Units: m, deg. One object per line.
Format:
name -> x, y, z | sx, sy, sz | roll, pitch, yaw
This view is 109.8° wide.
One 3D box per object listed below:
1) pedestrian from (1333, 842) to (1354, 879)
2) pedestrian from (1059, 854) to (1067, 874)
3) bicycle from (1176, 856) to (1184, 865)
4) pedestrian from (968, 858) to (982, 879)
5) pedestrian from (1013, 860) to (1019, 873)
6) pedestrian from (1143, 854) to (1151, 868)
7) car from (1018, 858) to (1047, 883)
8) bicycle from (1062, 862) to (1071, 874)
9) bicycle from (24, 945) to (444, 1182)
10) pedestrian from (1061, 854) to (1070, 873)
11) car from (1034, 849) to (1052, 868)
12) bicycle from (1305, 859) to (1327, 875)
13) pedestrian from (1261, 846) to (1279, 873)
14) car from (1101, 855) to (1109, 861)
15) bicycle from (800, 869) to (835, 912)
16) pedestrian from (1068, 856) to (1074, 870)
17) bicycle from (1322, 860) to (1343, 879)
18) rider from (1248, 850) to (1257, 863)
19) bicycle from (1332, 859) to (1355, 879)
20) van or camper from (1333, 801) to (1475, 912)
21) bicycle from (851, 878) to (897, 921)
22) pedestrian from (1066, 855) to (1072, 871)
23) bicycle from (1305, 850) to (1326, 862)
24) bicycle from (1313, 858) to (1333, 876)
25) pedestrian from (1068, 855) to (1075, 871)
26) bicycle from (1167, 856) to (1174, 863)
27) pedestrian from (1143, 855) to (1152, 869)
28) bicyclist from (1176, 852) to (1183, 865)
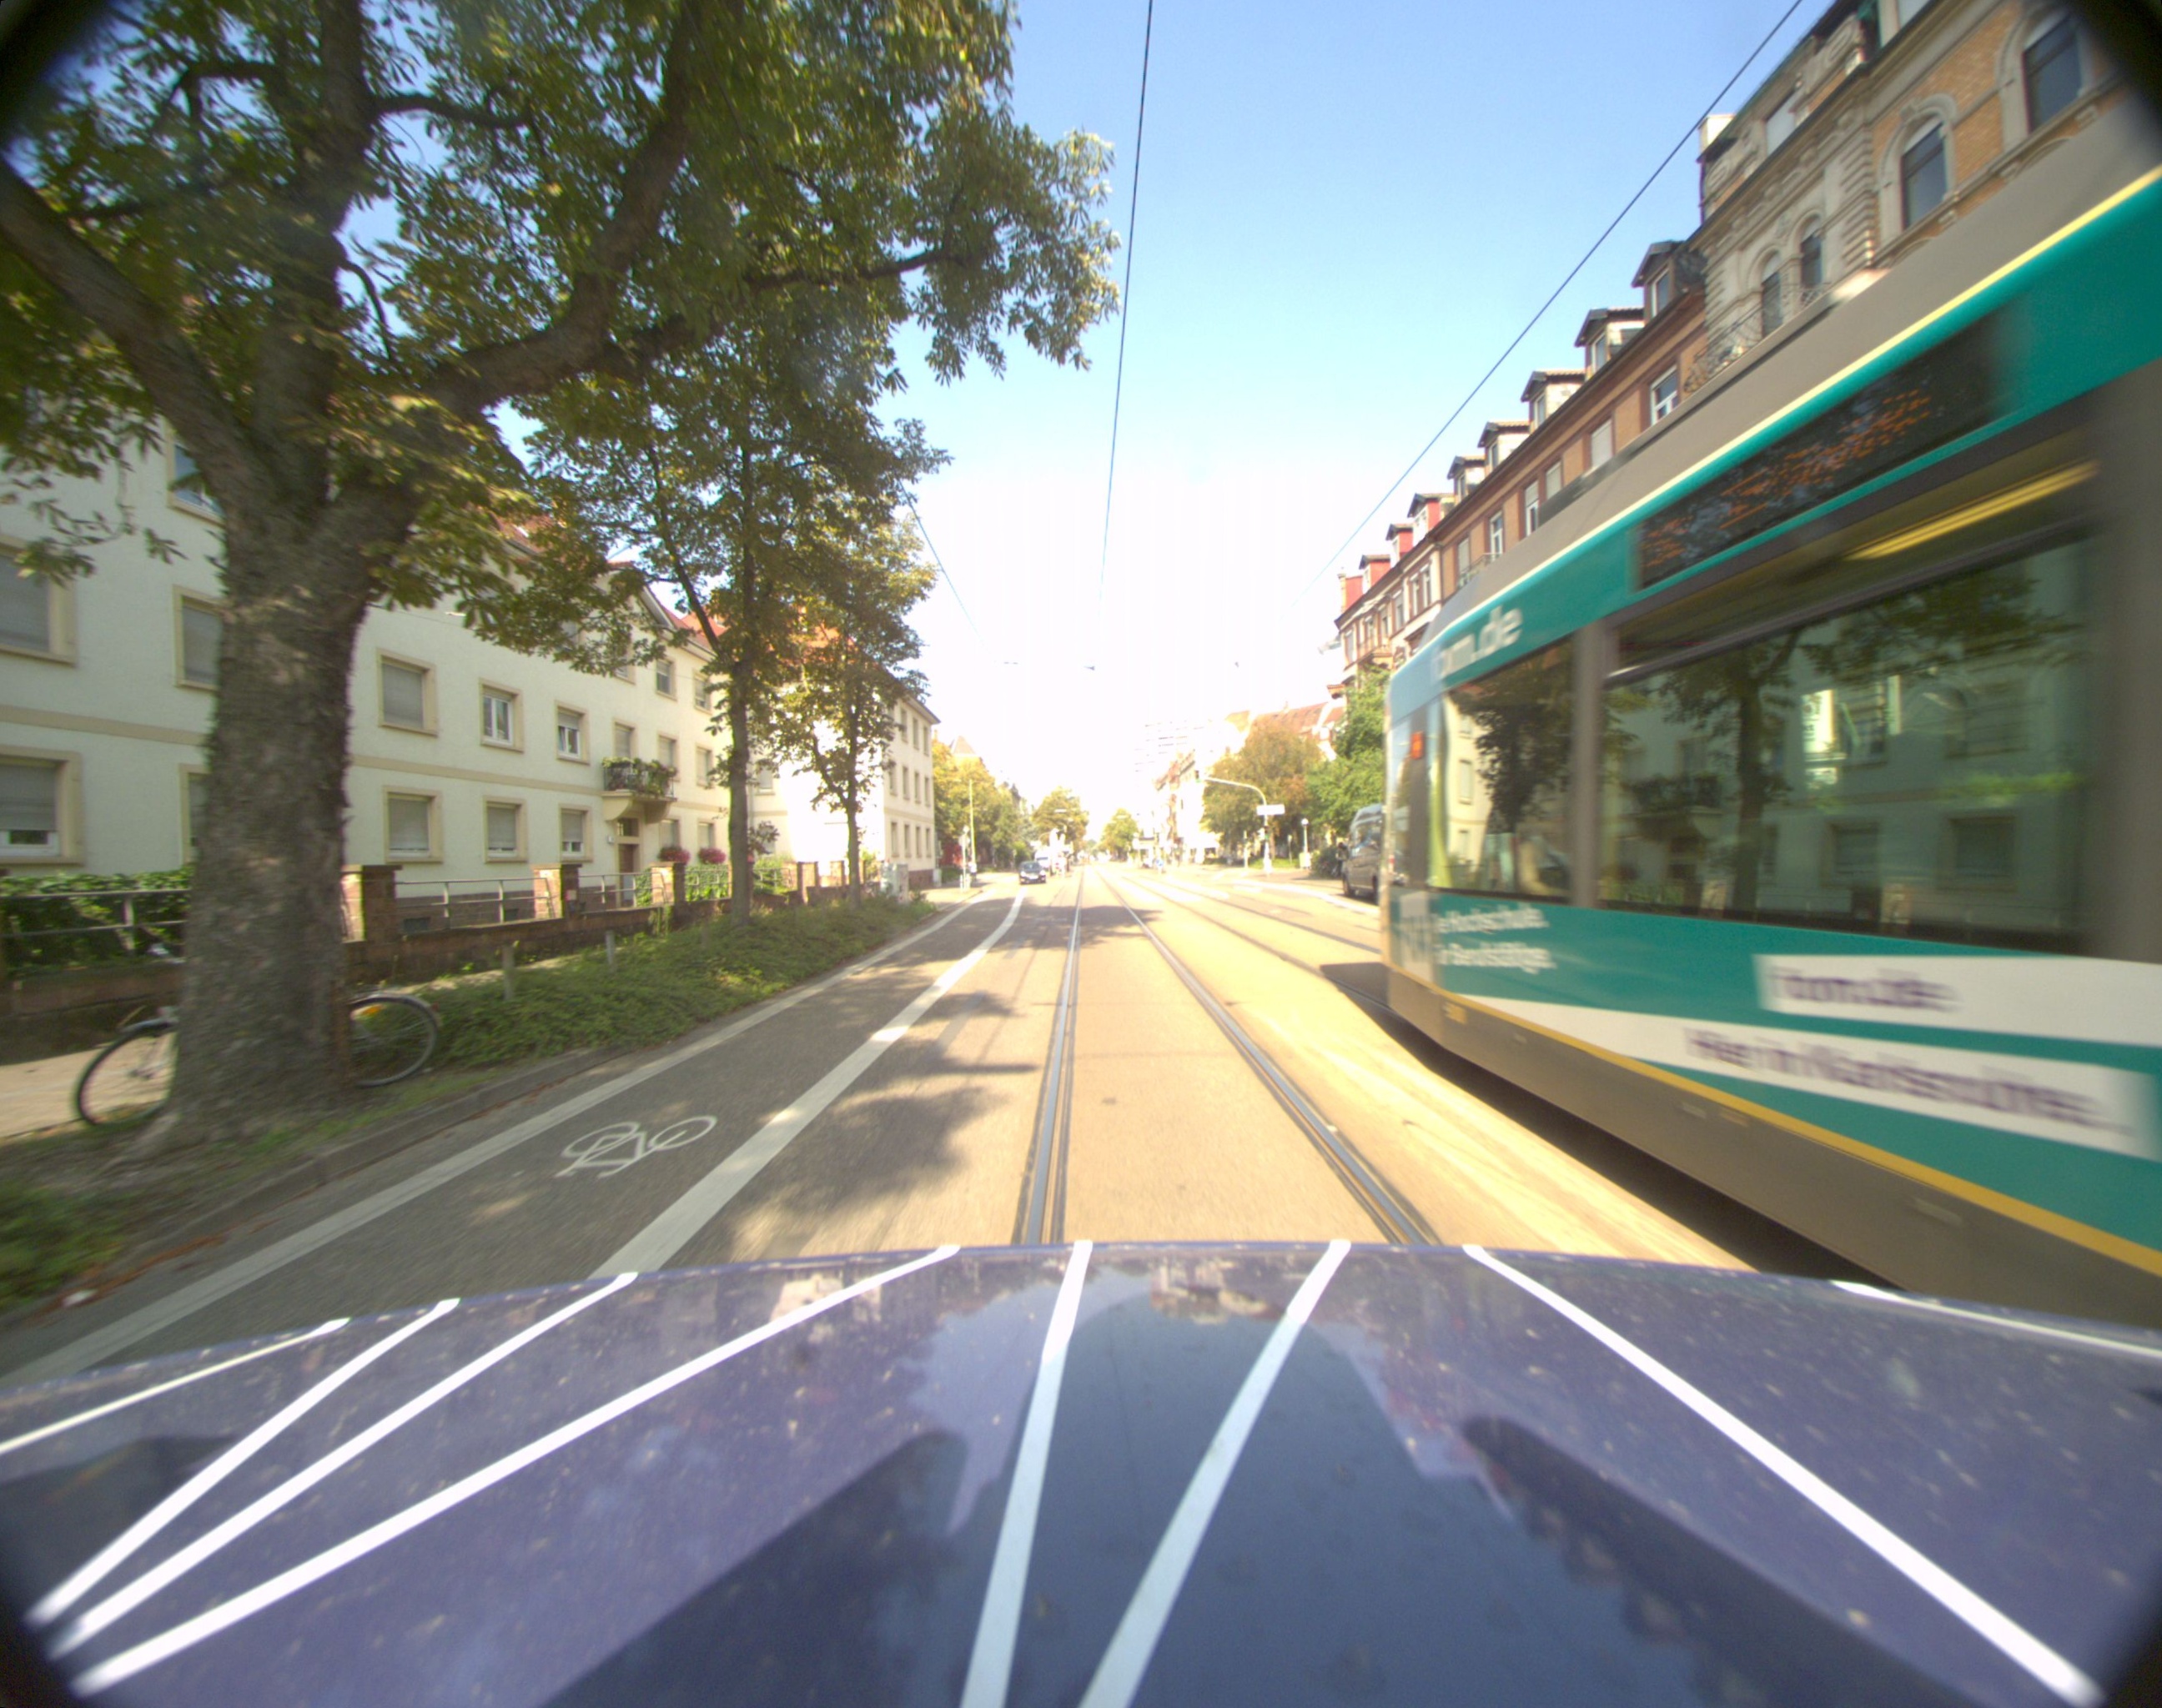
pedestrian -> 11.992, 0.308, 34.702 | 0.639, 1.668, 0.633 | -2, 0, -11
pedestrian -> -1.667, 0.905, 69.579 | 0.691, 1.756, 0.796 | -2, 0, -1
bicycle -> 12.019, 0.818, 92.352 | 0.686, 1.097, 2.069 | -2, 0, 3
pedestrian -> -9.002, 1.206, 64.469 | 1.079, 1.714, 0.969 | 1, 0, -1
pedestrian -> -8.581, 1.683, 99.774 | 0.543, 1.708, 0.662 | -2, 0, 16
pedestrian -> 7.067, 0.780, 81.422 | 0.678, 1.448, 0.718 | -2, 0, 1
car -> -3.223, 1.077, 50.089 | 1.776, 1.459, 3.998 | -3, 0, -5
bicycle -> -1.288, 1.267, 69.484 | 0.473, 1.097, 1.738 | -2, 0, 9
bicycle -> -5.365, 1.246, 4.975 | 0.524, 1.067, 1.732 | -2, 1, 42
pedestrian -> -1.497, 0.938, 72.759 | 0.769, 1.750, 0.680 | -2, 0, -1
car -> -4.912, 0.567, 98.203 | 2.087, 2.264, 4.827 | -2, 0, -1
bicycle -> 13.493, 0.742, 43.556 | 0.526, 0.855, 1.832 | -2, 0, 39
pedestrian -> 12.634, 0.335, 50.808 | 0.907, 1.756, 1.186 | -2, 0, 4
car -> 5.964, 0.927, 189.215 | 1.732, 1.425, 3.922 | -2, 0, 1
bicycle -> -9.454, 1.281, 27.328 | 0.455, 1.446, 1.740 | -3, 0, 5
pedestrian -> -1.070, 0.973, 82.417 | 0.590, 1.535, 0.607 | -2, 0, 3
bicycle -> 12.225, 0.735, 36.947 | 0.527, 0.855, 1.703 | -2, 0, 4
rider -> 21.586, 0.307, 95.656 | 0.997, 1.502, 1.114 | -3, 0, 4
bicycle -> 12.179, 0.682, 35.253 | 0.527, 0.922, 1.703 | -2, 0, 4
van or camper -> 8.790, 0.024, 21.370 | 2.054, 2.629, 6.092 | -1, 1, 7
bicycle -> -6.074, 1.312, 22.432 | 0.774, 1.097, 2.333 | -2, 0, -2
pedestrian -> -1.350, 0.979, 84.472 | 0.638, 1.737, 0.634 | -2, 0, 3
bicycle -> 29.207, 0.249, 94.655 | 2.303, 1.363, 0.867 | -2, 0, -10
bicycle -> 12.670, 0.669, 39.853 | 0.527, 0.855, 1.829 | -2, 0, 4
pedestrian -> -1.026, 0.974, 83.062 | 0.590, 1.711, 0.607 | -2, 0, 3
bicycle -> 14.067, 0.900, 119.530 | 0.546, 1.097, 1.895 | -2, 0, -13
pedestrian -> 7.022, 0.807, 80.341 | 0.794, 1.448, 0.718 | -2, 0, 1
bicyclist -> 12.004, 0.520, 92.292 | 0.674, 1.605, 1.044 | -2, 0, 3
